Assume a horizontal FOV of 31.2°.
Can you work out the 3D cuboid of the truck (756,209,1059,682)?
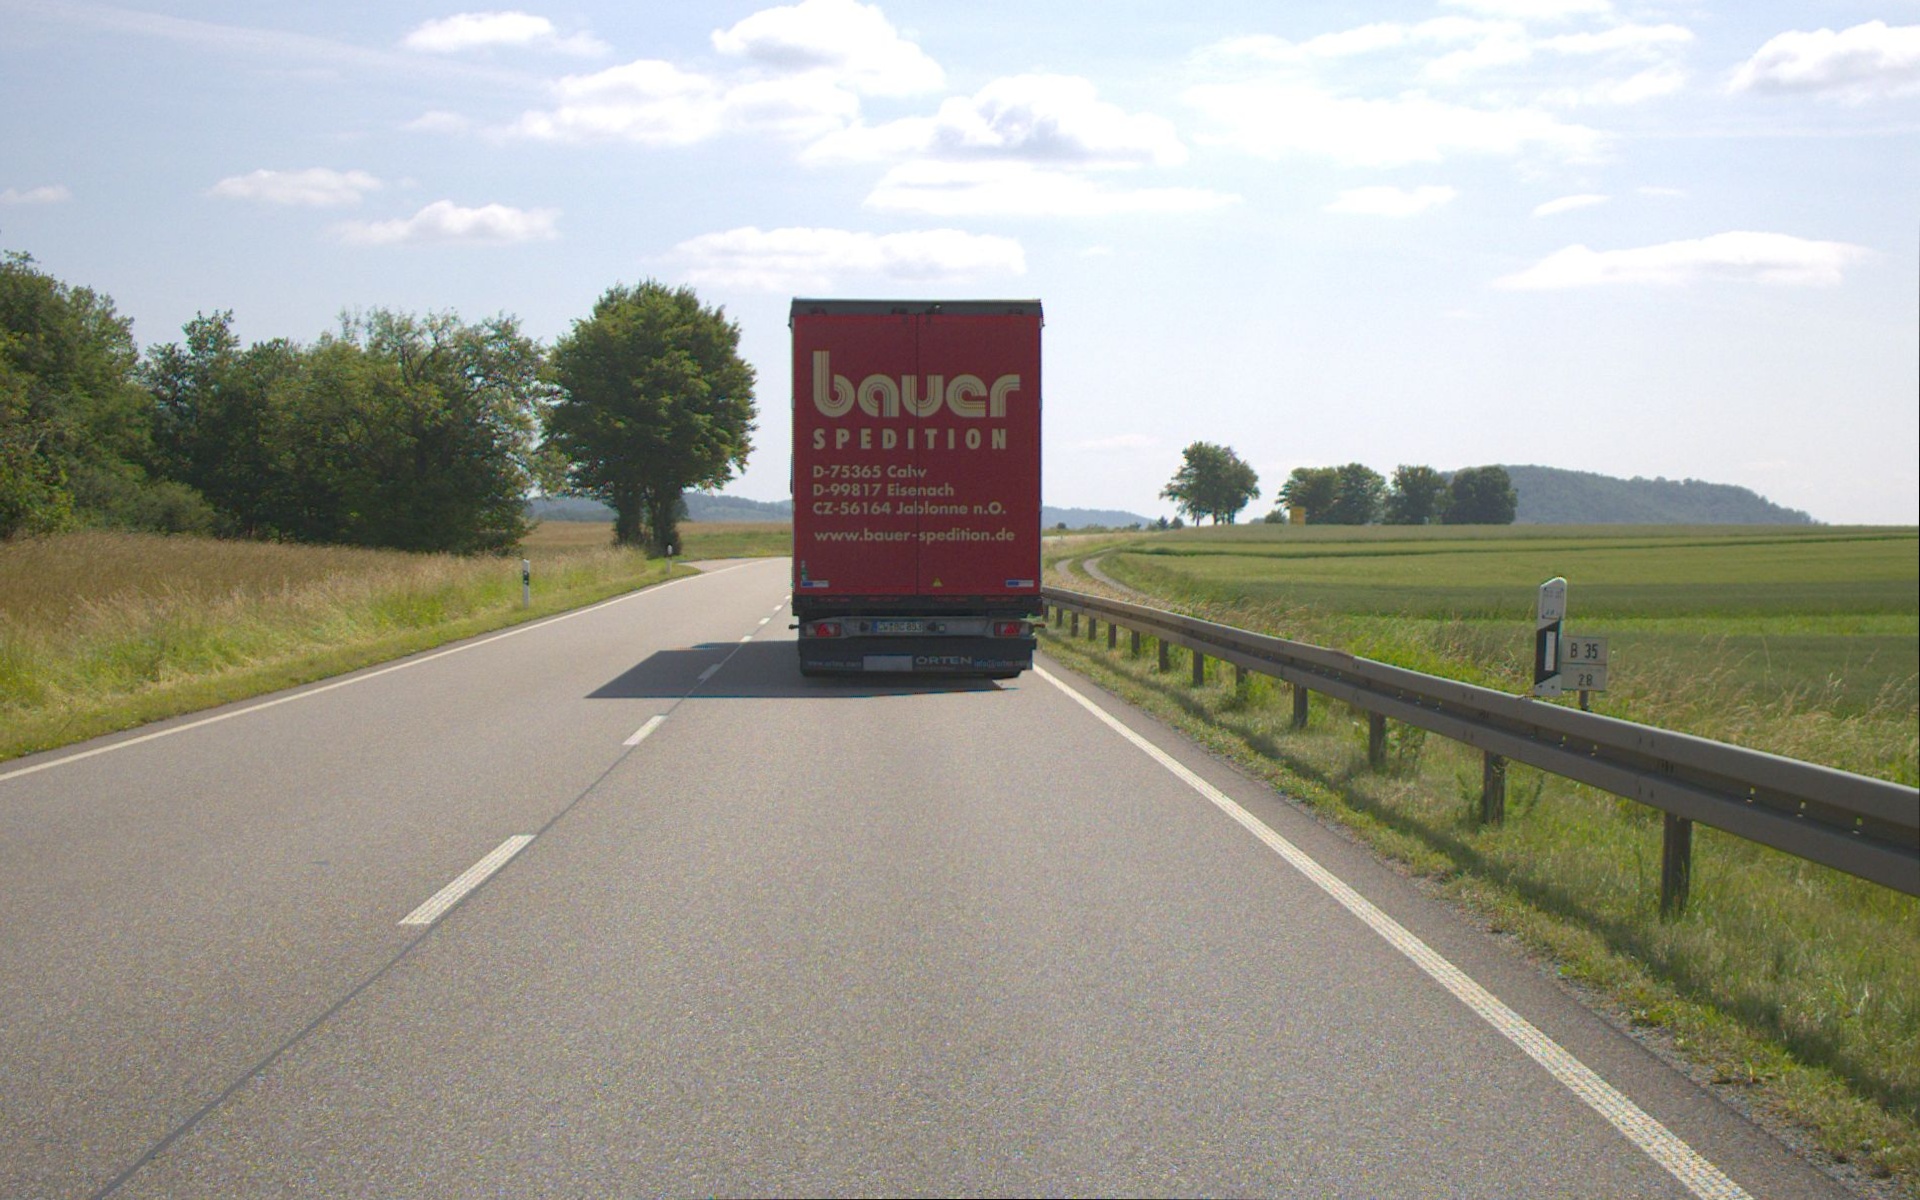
[{"bbox_3d":[-0.647,-1.585,39.051,2.975,4.697,9.366,1,0,-2],"label":"truck"}]
